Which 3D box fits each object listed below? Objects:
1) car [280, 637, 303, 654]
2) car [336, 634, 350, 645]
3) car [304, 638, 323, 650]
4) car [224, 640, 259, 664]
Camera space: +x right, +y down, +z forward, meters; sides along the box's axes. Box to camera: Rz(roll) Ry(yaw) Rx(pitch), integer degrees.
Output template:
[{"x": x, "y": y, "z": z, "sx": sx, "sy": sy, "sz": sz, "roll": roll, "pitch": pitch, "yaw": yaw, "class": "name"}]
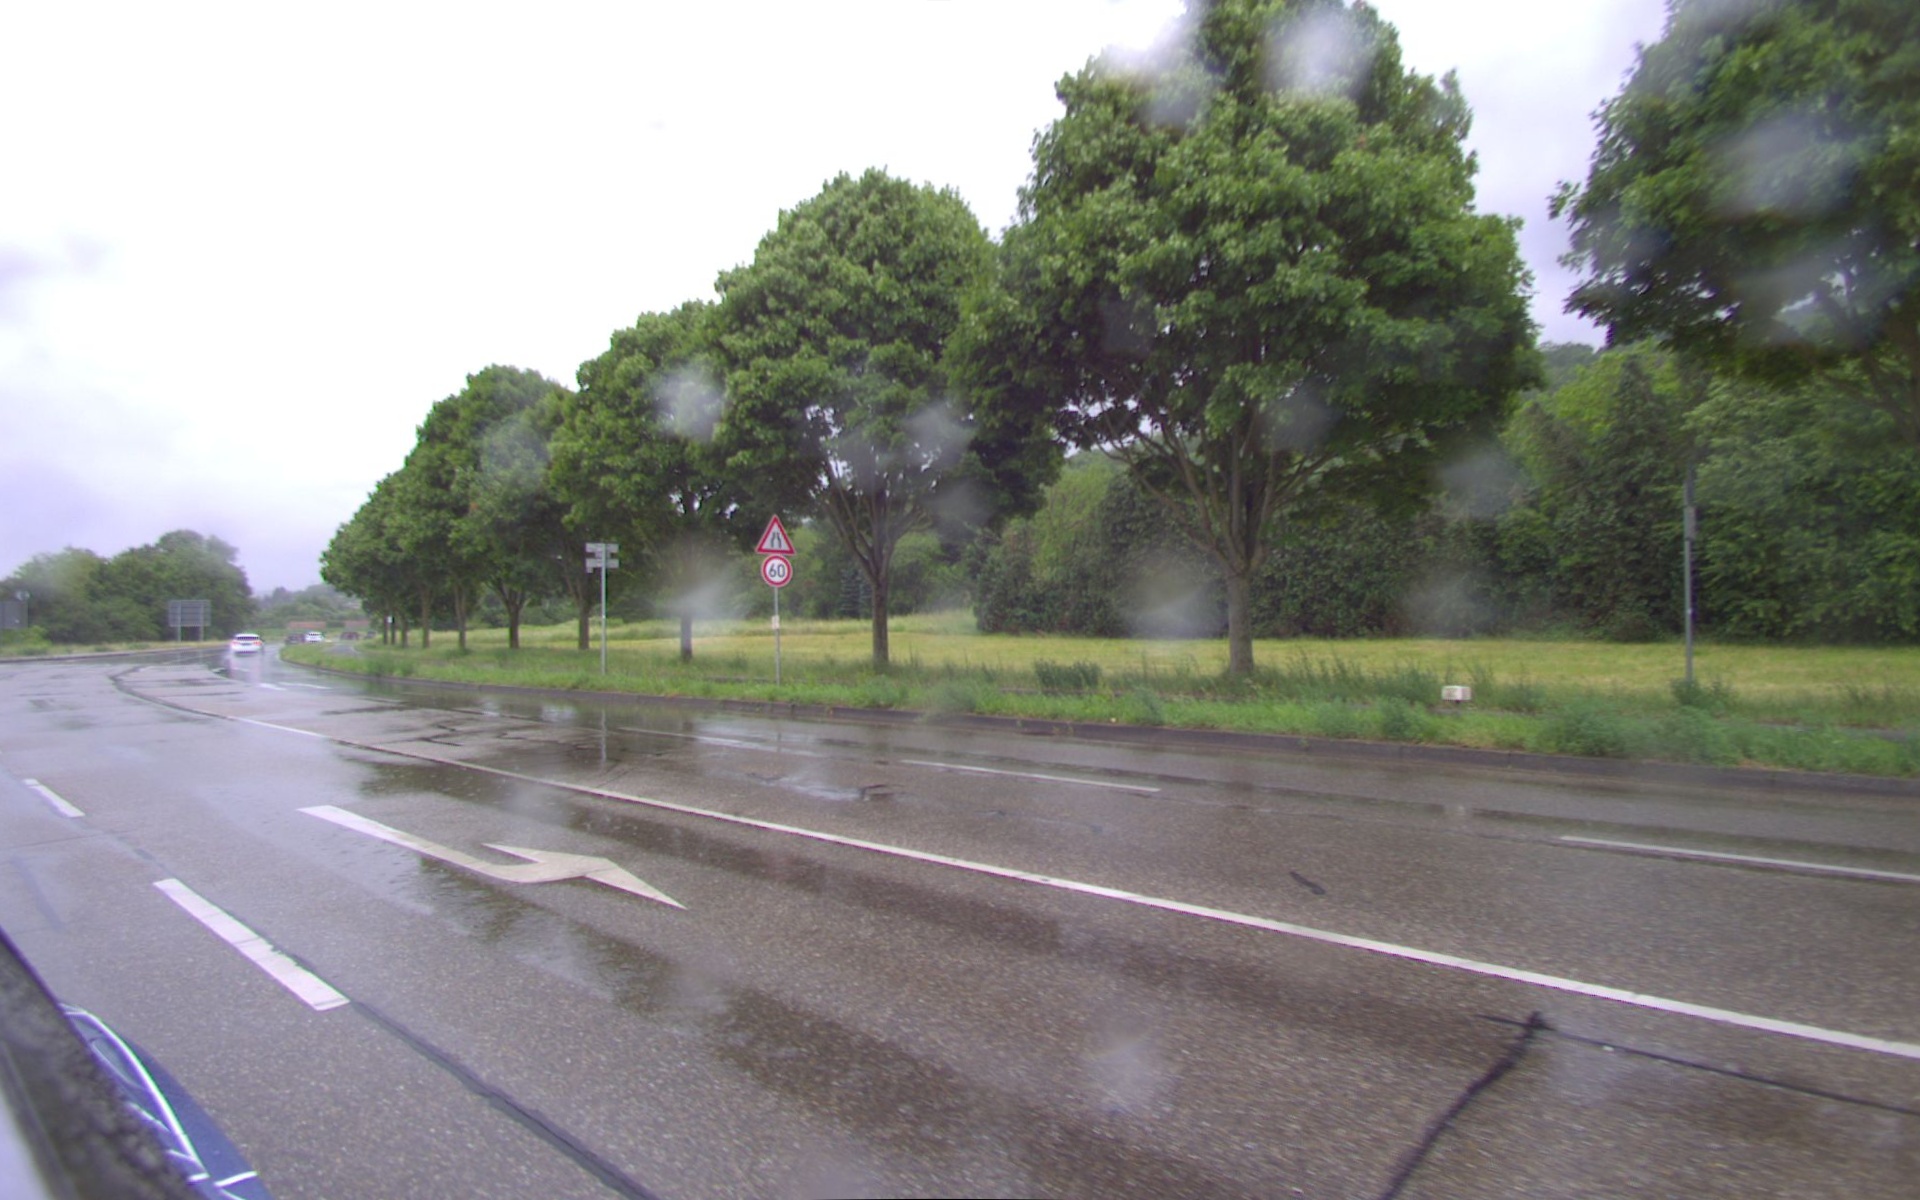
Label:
[{"x": -71.790, "y": 4.868, "z": 108.747, "sx": 1.858, "sy": 1.599, "sz": 4.131, "roll": -2, "pitch": 0, "yaw": -31, "class": "car"}, {"x": -102.744, "y": 6.557, "z": 168.470, "sx": 1.898, "sy": 1.756, "sz": 4.301, "roll": 2, "pitch": -2, "yaw": -32, "class": "car"}, {"x": -78.314, "y": 5.315, "z": 122.611, "sx": 1.715, "sy": 1.498, "sz": 4.022, "roll": 2, "pitch": -2, "yaw": -31, "class": "car"}, {"x": -49.668, "y": 3.551, "z": 69.980, "sx": 1.854, "sy": 1.585, "sz": 4.656, "roll": 2, "pitch": -3, "yaw": -35, "class": "car"}]
